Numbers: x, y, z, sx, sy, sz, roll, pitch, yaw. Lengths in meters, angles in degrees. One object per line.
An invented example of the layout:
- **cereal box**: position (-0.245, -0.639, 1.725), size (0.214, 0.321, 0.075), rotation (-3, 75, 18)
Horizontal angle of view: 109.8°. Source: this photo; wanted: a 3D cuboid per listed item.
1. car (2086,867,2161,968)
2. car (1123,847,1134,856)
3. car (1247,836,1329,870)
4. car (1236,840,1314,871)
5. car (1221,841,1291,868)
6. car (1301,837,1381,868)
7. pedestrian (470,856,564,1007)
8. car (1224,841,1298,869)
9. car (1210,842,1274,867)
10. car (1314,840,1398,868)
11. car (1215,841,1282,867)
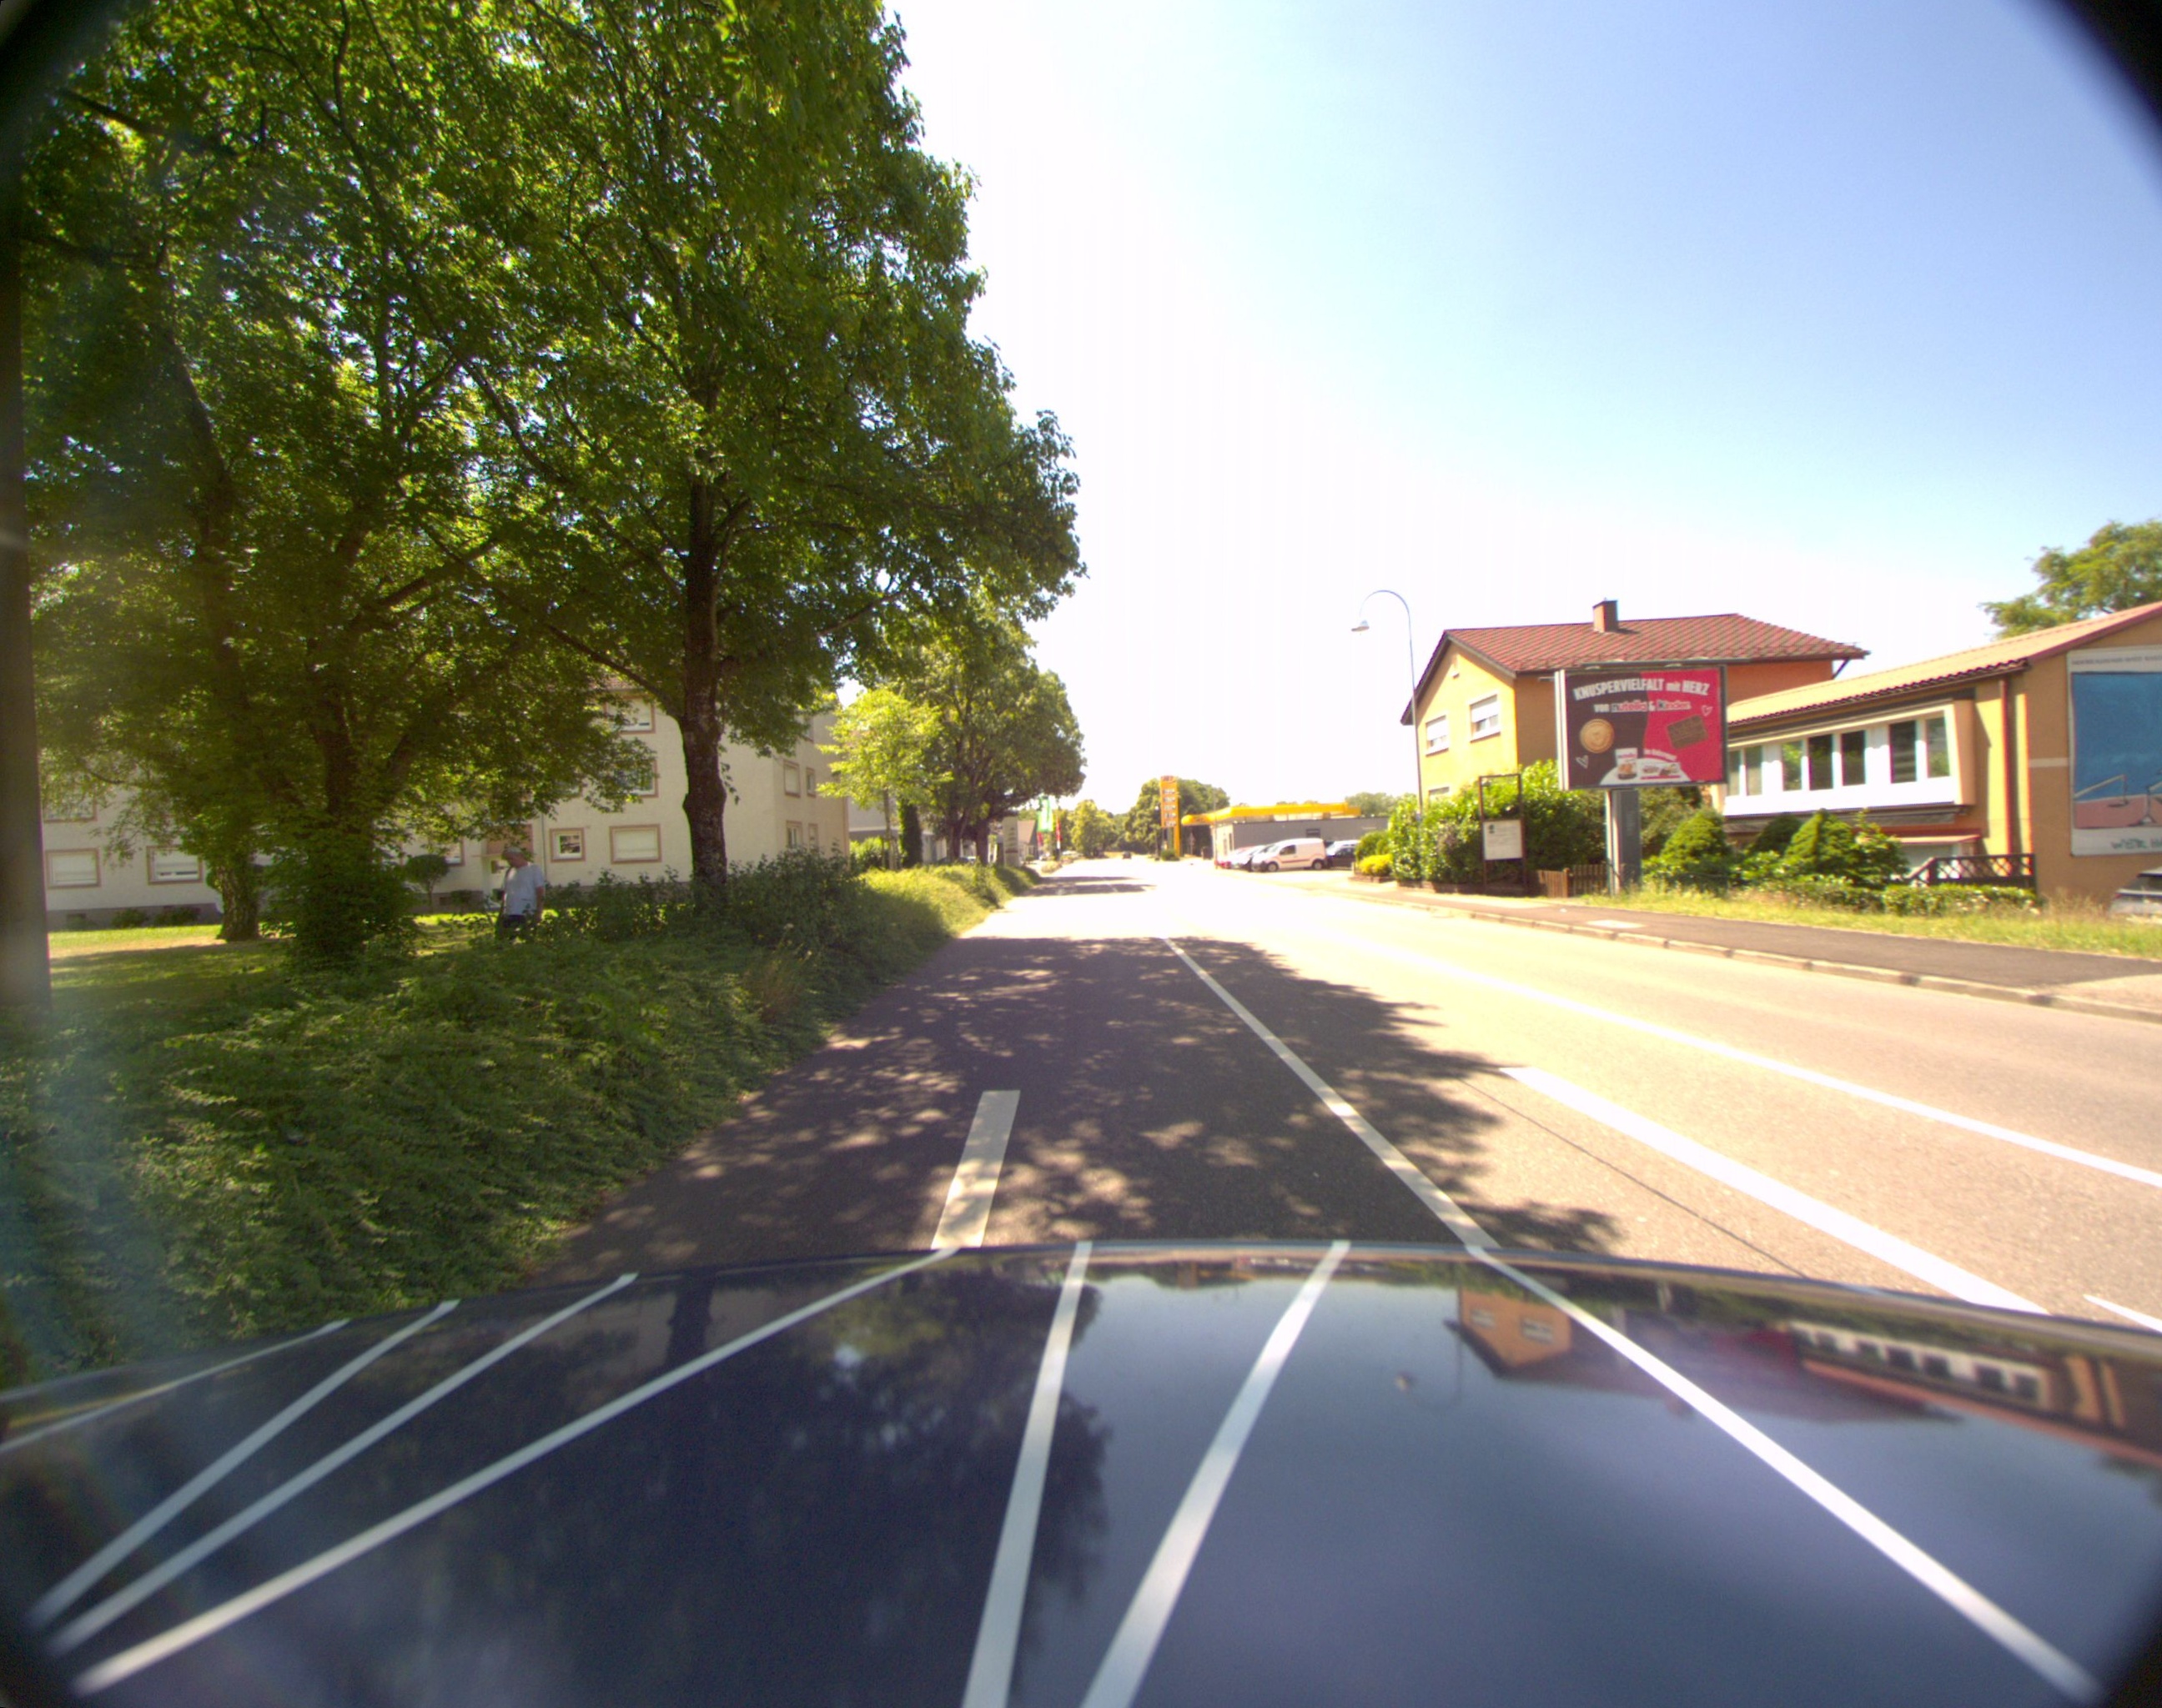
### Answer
- **car**: position (19.820, 1.015, 12.343), size (4.224, 1.599, 1.772), rotation (-1, 1, 7)
- **car**: position (8.343, -0.407, 133.574), size (1.809, 1.552, 4.063), rotation (-2, 1, 2)
- **car**: position (12.087, -0.054, 44.441), size (4.191, 1.858, 1.874), rotation (-2, 1, -5)
- **car**: position (11.845, 0.065, 46.540), size (4.246, 1.750, 1.874), rotation (-2, 1, -5)
- **car**: position (12.273, 0.021, 53.347), size (4.402, 1.750, 1.874), rotation (-2, 1, -5)
- **car**: position (16.589, -0.099, 48.574), size (4.402, 1.815, 1.874), rotation (-2, 1, -5)
- **pedestrian**: position (-7.429, 0.972, 10.055), size (0.675, 1.863, 0.901), rotation (-3, 2, -22)
- **car**: position (12.056, 0.059, 51.063), size (4.402, 1.750, 1.874), rotation (-2, 1, -5)
- **car**: position (12.279, 0.039, 57.957), size (4.402, 1.750, 1.874), rotation (-2, 1, -5)
- **car**: position (16.756, -0.022, 46.440), size (4.402, 1.554, 1.874), rotation (-2, 1, -5)
- **car**: position (12.242, -0.030, 55.536), size (4.402, 1.750, 1.874), rotation (-2, 1, -5)
